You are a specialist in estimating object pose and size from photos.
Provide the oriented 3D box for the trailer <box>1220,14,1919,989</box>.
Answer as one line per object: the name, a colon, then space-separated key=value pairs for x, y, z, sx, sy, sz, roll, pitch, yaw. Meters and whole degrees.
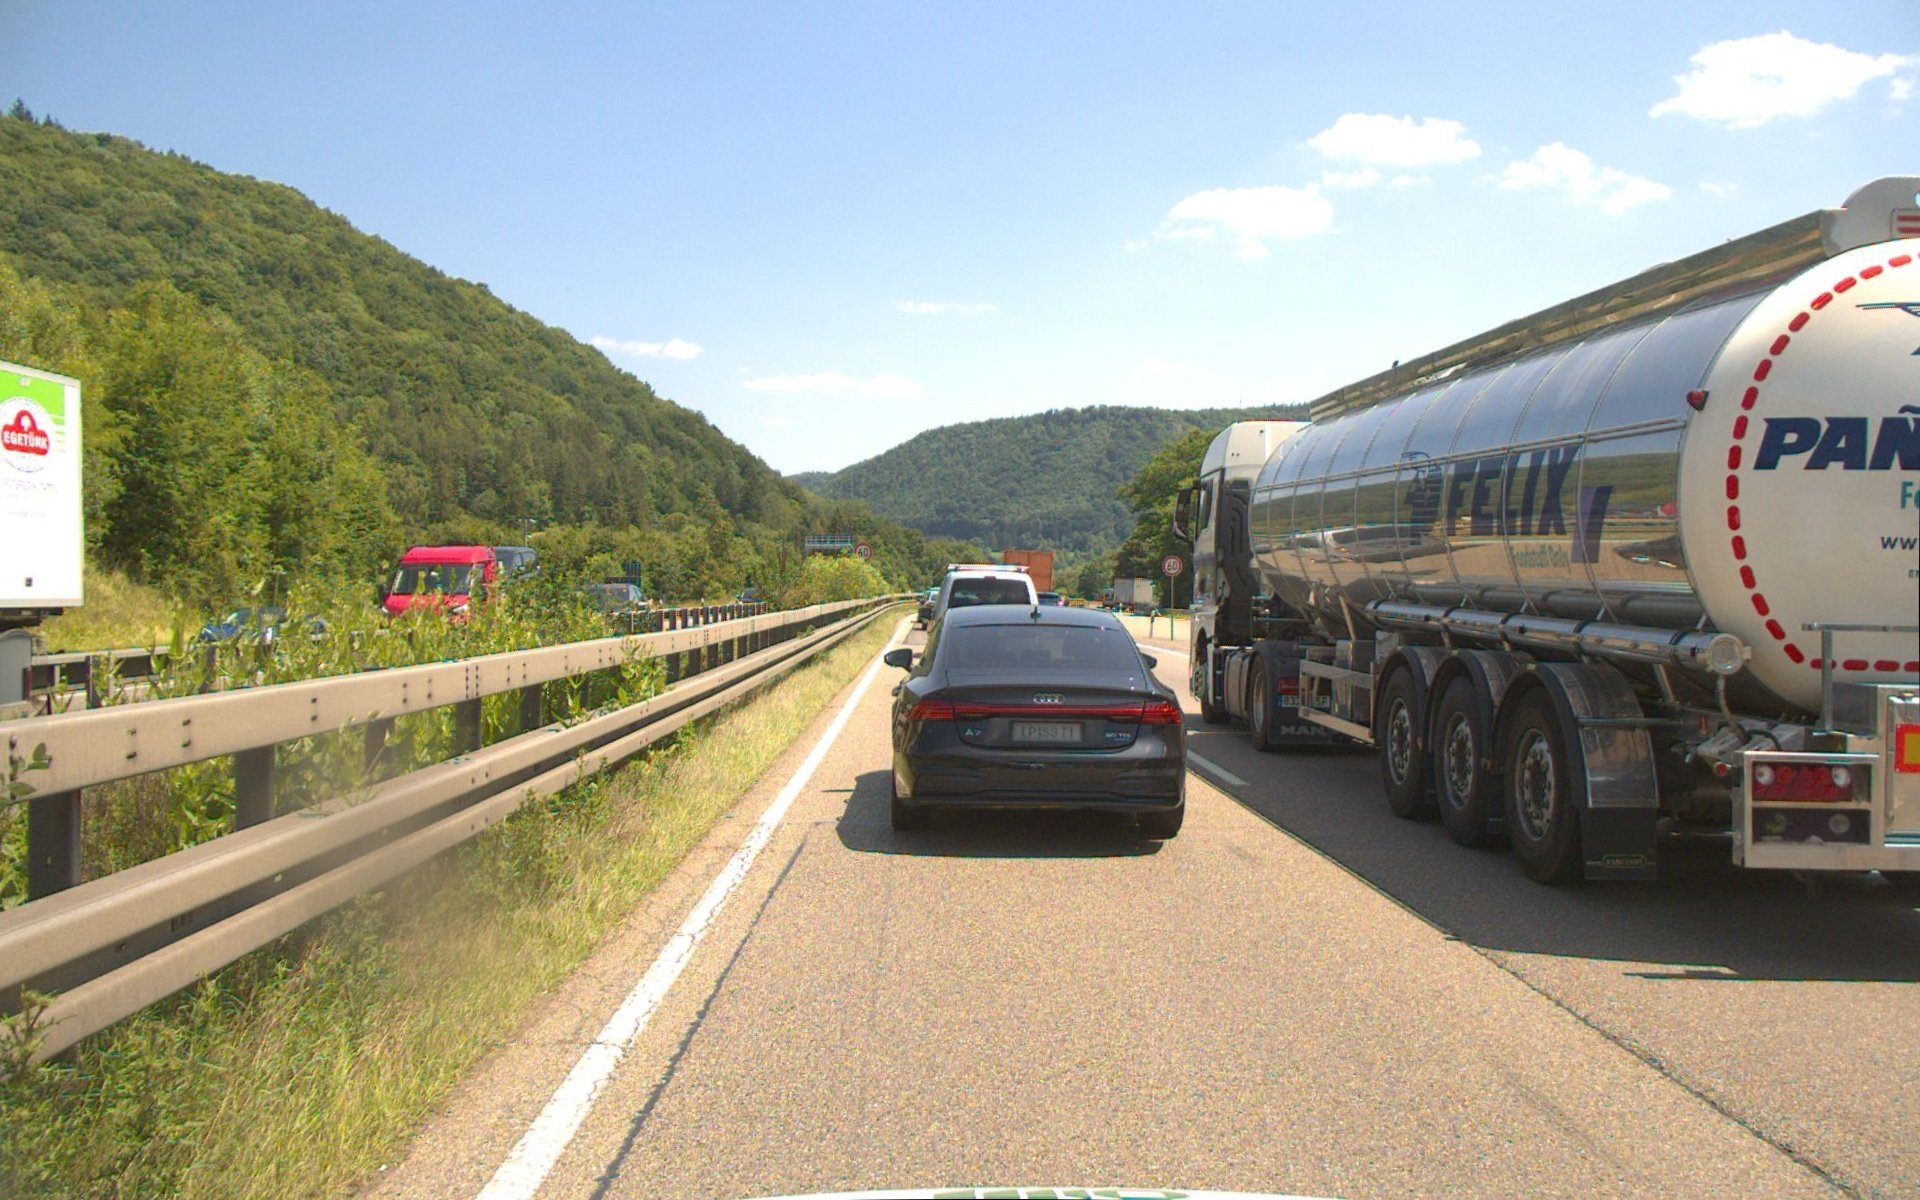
trailer: x=4.295 y=-0.414 z=12.439 sx=2.487 sy=3.801 sz=11.888 roll=1 pitch=0 yaw=-1

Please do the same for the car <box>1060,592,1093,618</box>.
car: x=6.947 y=0.277 z=99.017 sx=1.711 sy=1.557 sz=4.000 roll=0 pitch=0 yaw=1

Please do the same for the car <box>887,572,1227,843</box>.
car: x=0.466 y=0.595 z=11.367 sx=1.813 sy=1.514 sz=4.079 roll=1 pitch=0 yaw=-4

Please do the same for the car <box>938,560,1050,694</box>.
car: x=0.458 y=0.370 z=25.329 sx=1.544 sy=1.865 sz=3.999 roll=1 pitch=0 yaw=-1

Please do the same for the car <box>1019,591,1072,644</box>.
car: x=3.387 y=0.656 z=66.060 sx=1.952 sy=2.037 sz=4.000 roll=0 pitch=0 yaw=0

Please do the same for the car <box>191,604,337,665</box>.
car: x=-17.014 y=0.803 z=40.658 sx=1.953 sy=1.379 sz=4.105 roll=0 pitch=0 yaw=-2

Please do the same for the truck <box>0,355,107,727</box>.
truck: x=-11.829 y=-0.642 z=15.809 sx=2.811 sy=4.050 sz=9.029 roll=1 pitch=0 yaw=-1

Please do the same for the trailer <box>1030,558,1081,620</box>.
trailer: x=7.163 y=-0.841 z=125.183 sx=2.954 sy=4.458 sz=10.983 roll=1 pitch=0 yaw=-1

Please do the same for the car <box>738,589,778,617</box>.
car: x=-11.957 y=0.160 z=98.144 sx=1.883 sy=1.649 sz=4.560 roll=0 pitch=0 yaw=-1

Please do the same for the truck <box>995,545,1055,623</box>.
truck: x=3.587 y=-0.904 z=94.488 sx=2.760 sy=4.073 sz=14.954 roll=1 pitch=0 yaw=0

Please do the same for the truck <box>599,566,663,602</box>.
truck: x=-25.411 y=-1.220 z=128.088 sx=3.509 sy=2.742 sz=8.444 roll=0 pitch=0 yaw=-2

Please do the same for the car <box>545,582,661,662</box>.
car: x=-7.621 y=0.440 z=35.620 sx=1.741 sy=1.627 sz=3.998 roll=0 pitch=0 yaw=-2

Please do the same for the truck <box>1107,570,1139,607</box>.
truck: x=20.944 y=-1.430 z=211.959 sx=3.713 sy=4.491 sz=14.966 roll=1 pitch=0 yaw=7

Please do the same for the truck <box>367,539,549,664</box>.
truck: x=-11.657 y=0.002 z=39.107 sx=2.250 sy=2.633 sz=7.963 roll=1 pitch=0 yaw=-3

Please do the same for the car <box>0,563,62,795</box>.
car: x=-7.856 y=0.570 z=10.167 sx=1.953 sy=1.670 sz=5.031 roll=1 pitch=0 yaw=-1

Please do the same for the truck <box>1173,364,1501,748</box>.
truck: x=4.124 y=-0.455 z=19.209 sx=2.461 sy=3.824 sz=5.244 roll=1 pitch=0 yaw=-2

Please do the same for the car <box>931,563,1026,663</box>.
car: x=0.354 y=0.264 z=36.348 sx=1.953 sy=2.049 sz=3.999 roll=1 pitch=0 yaw=-1

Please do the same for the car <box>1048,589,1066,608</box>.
car: x=10.771 y=-0.143 z=184.405 sx=1.952 sy=2.049 sz=4.001 roll=0 pitch=0 yaw=2

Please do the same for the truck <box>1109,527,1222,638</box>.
truck: x=8.256 y=-0.707 z=68.517 sx=2.760 sy=4.073 sz=14.954 roll=1 pitch=0 yaw=0

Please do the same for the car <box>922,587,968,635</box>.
car: x=-0.690 y=0.464 z=73.112 sx=1.953 sy=2.049 sz=3.999 roll=0 pitch=0 yaw=-1
